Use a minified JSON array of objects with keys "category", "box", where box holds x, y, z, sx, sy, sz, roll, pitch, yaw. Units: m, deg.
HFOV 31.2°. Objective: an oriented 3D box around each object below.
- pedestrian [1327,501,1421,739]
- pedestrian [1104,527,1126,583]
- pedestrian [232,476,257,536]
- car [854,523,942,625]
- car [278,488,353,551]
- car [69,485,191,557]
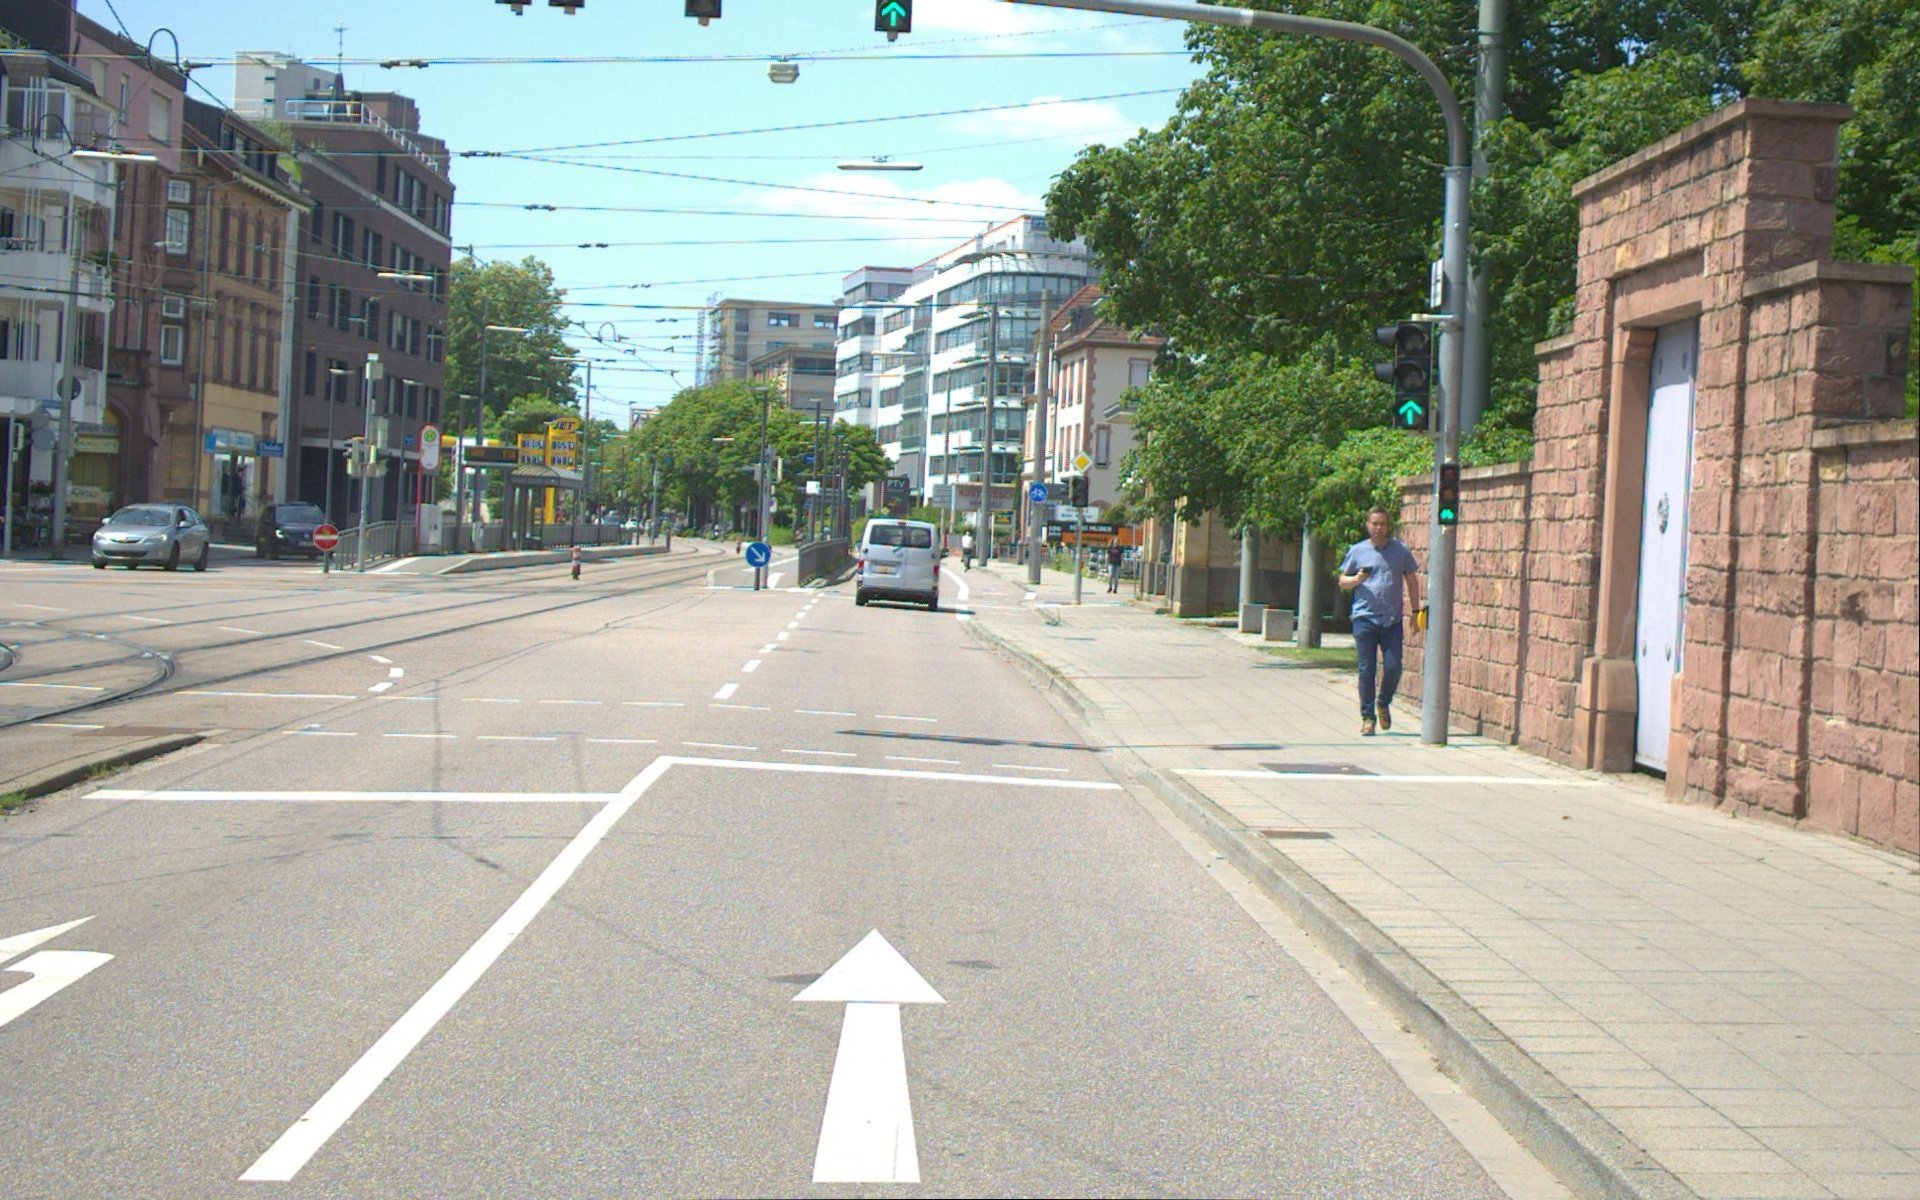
[{"category":"pedestrian","box":[3.253,0.151,27.075,0.715,1.845,0.767,0,0,6]},{"category":"pedestrian","box":[4.326,-1.258,95.810,0.577,1.551,0.786,1,0,2]},{"category":"pedestrian","box":[-24.516,-3.222,117.790,0.617,2.007,0.810,4,0,-3]},{"category":"car","box":[-1.312,-0.573,72.650,1.752,2.006,4.001,2,2,-1]},{"category":"car","box":[-18.659,-2.356,99.627,1.723,1.677,4.281,3,2,-6]},{"category":"car","box":[-18.276,-1.753,75.905,1.993,1.466,4.402,2,1,-6]}]
